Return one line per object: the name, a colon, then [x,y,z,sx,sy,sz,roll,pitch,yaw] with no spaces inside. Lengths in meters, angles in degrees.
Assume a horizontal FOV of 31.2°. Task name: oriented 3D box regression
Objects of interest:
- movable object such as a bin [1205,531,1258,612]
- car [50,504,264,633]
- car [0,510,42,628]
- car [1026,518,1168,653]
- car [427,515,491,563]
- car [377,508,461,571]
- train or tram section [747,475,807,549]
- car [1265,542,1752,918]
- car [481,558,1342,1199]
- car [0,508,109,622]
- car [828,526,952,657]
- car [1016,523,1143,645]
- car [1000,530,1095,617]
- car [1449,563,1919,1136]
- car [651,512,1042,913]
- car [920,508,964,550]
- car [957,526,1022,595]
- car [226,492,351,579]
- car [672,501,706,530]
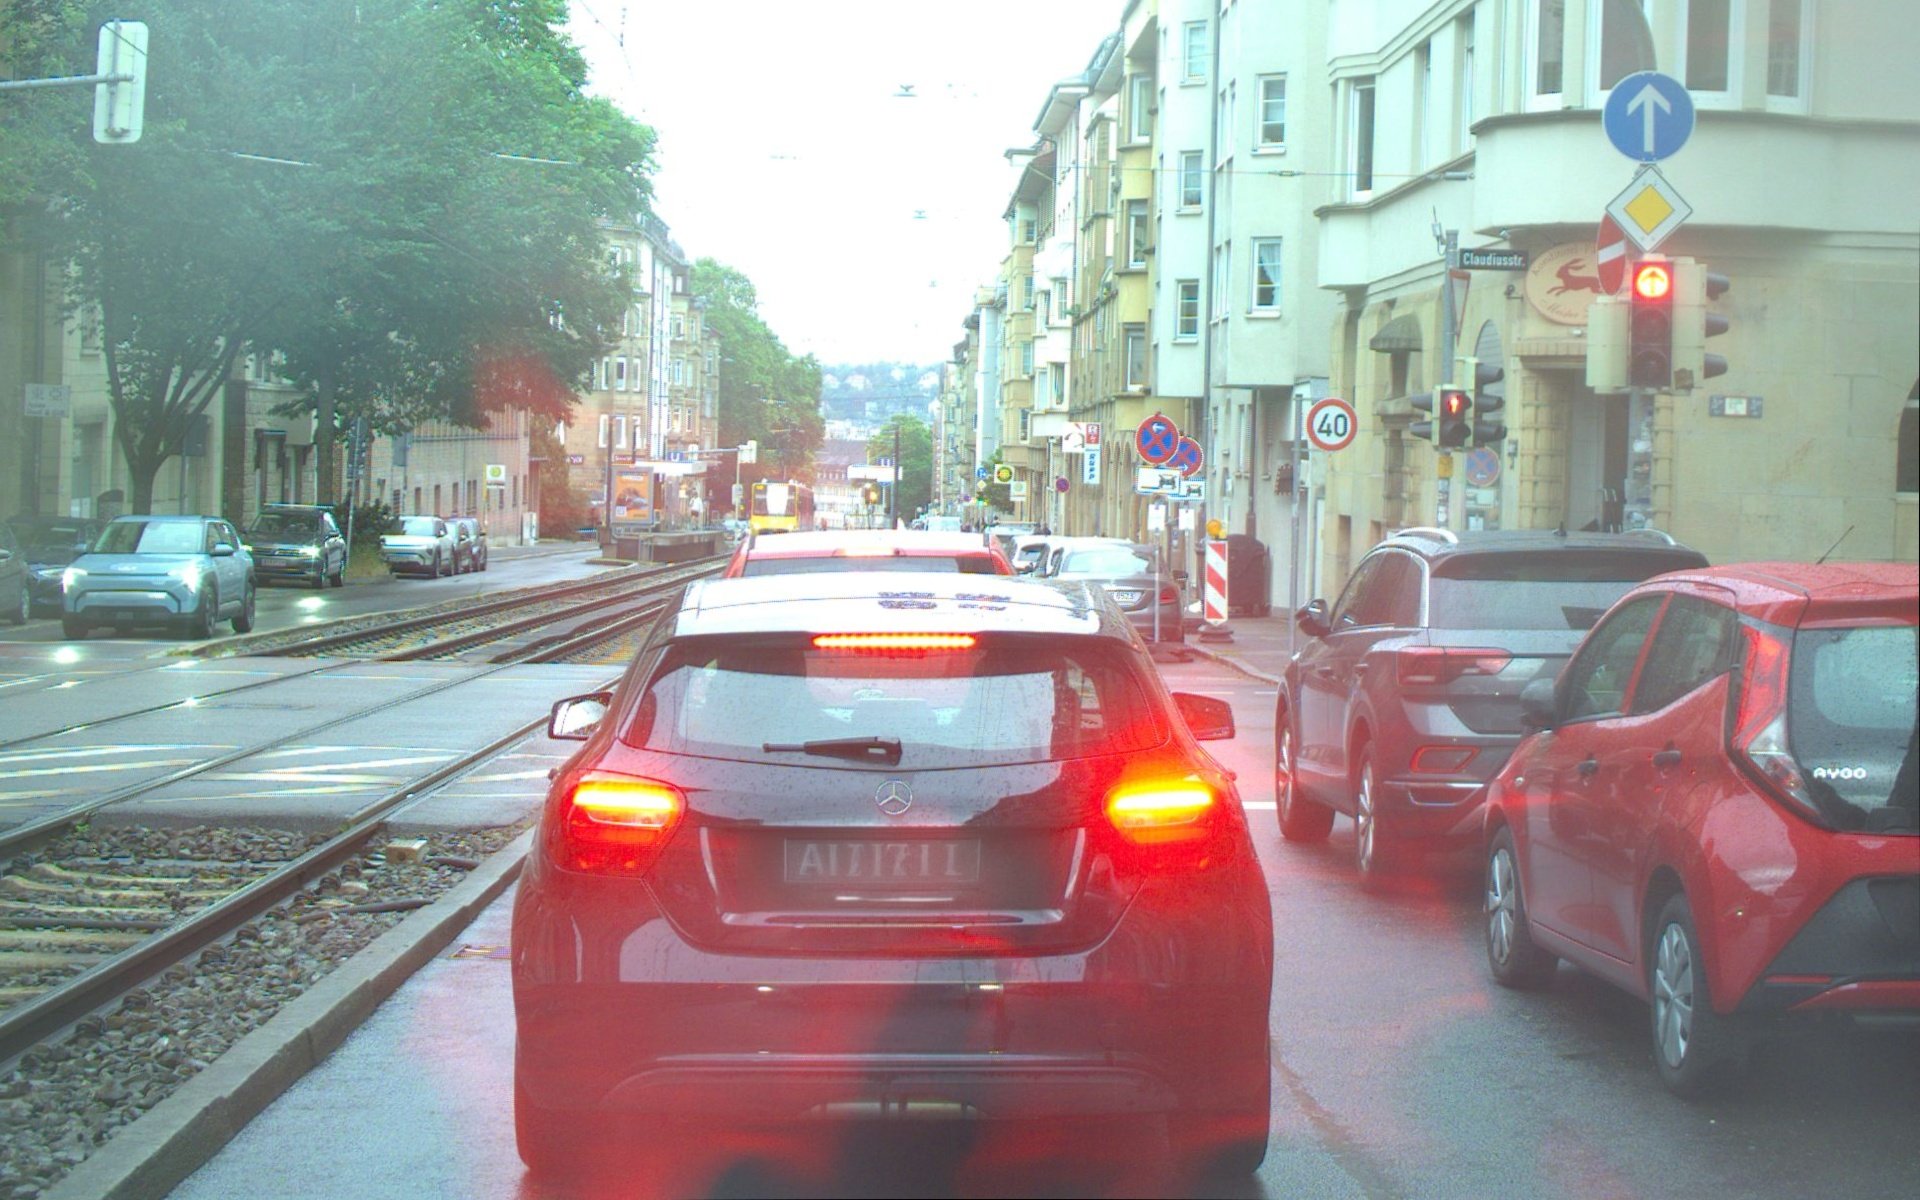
movable object such as a bin: [4.700,-0.498,59.576,0.878,1.384,0.982,1,0,3]
car: [-10.469,-0.411,45.081,1.898,1.582,3.973,1,0,-1]
car: [-13.493,-0.429,45.694,1.752,1.547,4.036,1,0,-4]
car: [1.658,-0.205,42.644,1.544,1.585,3.548,1,1,-1]
car: [-14.355,-1.727,98.576,1.448,1.326,3.272,1,0,-2]
car: [-14.010,-1.541,89.166,1.589,1.575,3.918,1,0,-1]
train or tram section: [-10.011,-4.794,188.584,2.783,3.847,10.430,1,0,-1]
car: [2.380,0.493,15.767,1.544,1.481,3.830,1,1,-1]
car: [-0.132,0.642,9.460,1.829,1.453,4.104,1,1,-1]
car: [-13.747,-0.517,50.724,1.716,1.605,3.919,1,0,-5]
car: [-0.963,-0.144,45.591,1.544,1.630,3.686,1,1,-2]
car: [1.602,-0.242,47.119,1.544,1.585,3.548,1,1,-1]
car: [1.541,-0.495,61.528,1.544,1.481,3.548,1,1,-1]
car: [2.644,0.636,10.529,1.642,1.443,3.299,1,1,-3]
car: [-0.486,0.440,15.847,1.565,1.604,3.814,1,0,-1]
car: [-0.849,-3.260,158.351,1.993,1.870,4.000,1,0,-1]
car: [0.621,-0.853,73.597,1.294,1.437,2.929,1,1,-1]
car: [-13.970,-1.323,71.703,1.875,1.731,3.918,1,0,-1]
car: [-12.279,-3.842,156.095,1.377,1.245,3.298,1,0,-2]
